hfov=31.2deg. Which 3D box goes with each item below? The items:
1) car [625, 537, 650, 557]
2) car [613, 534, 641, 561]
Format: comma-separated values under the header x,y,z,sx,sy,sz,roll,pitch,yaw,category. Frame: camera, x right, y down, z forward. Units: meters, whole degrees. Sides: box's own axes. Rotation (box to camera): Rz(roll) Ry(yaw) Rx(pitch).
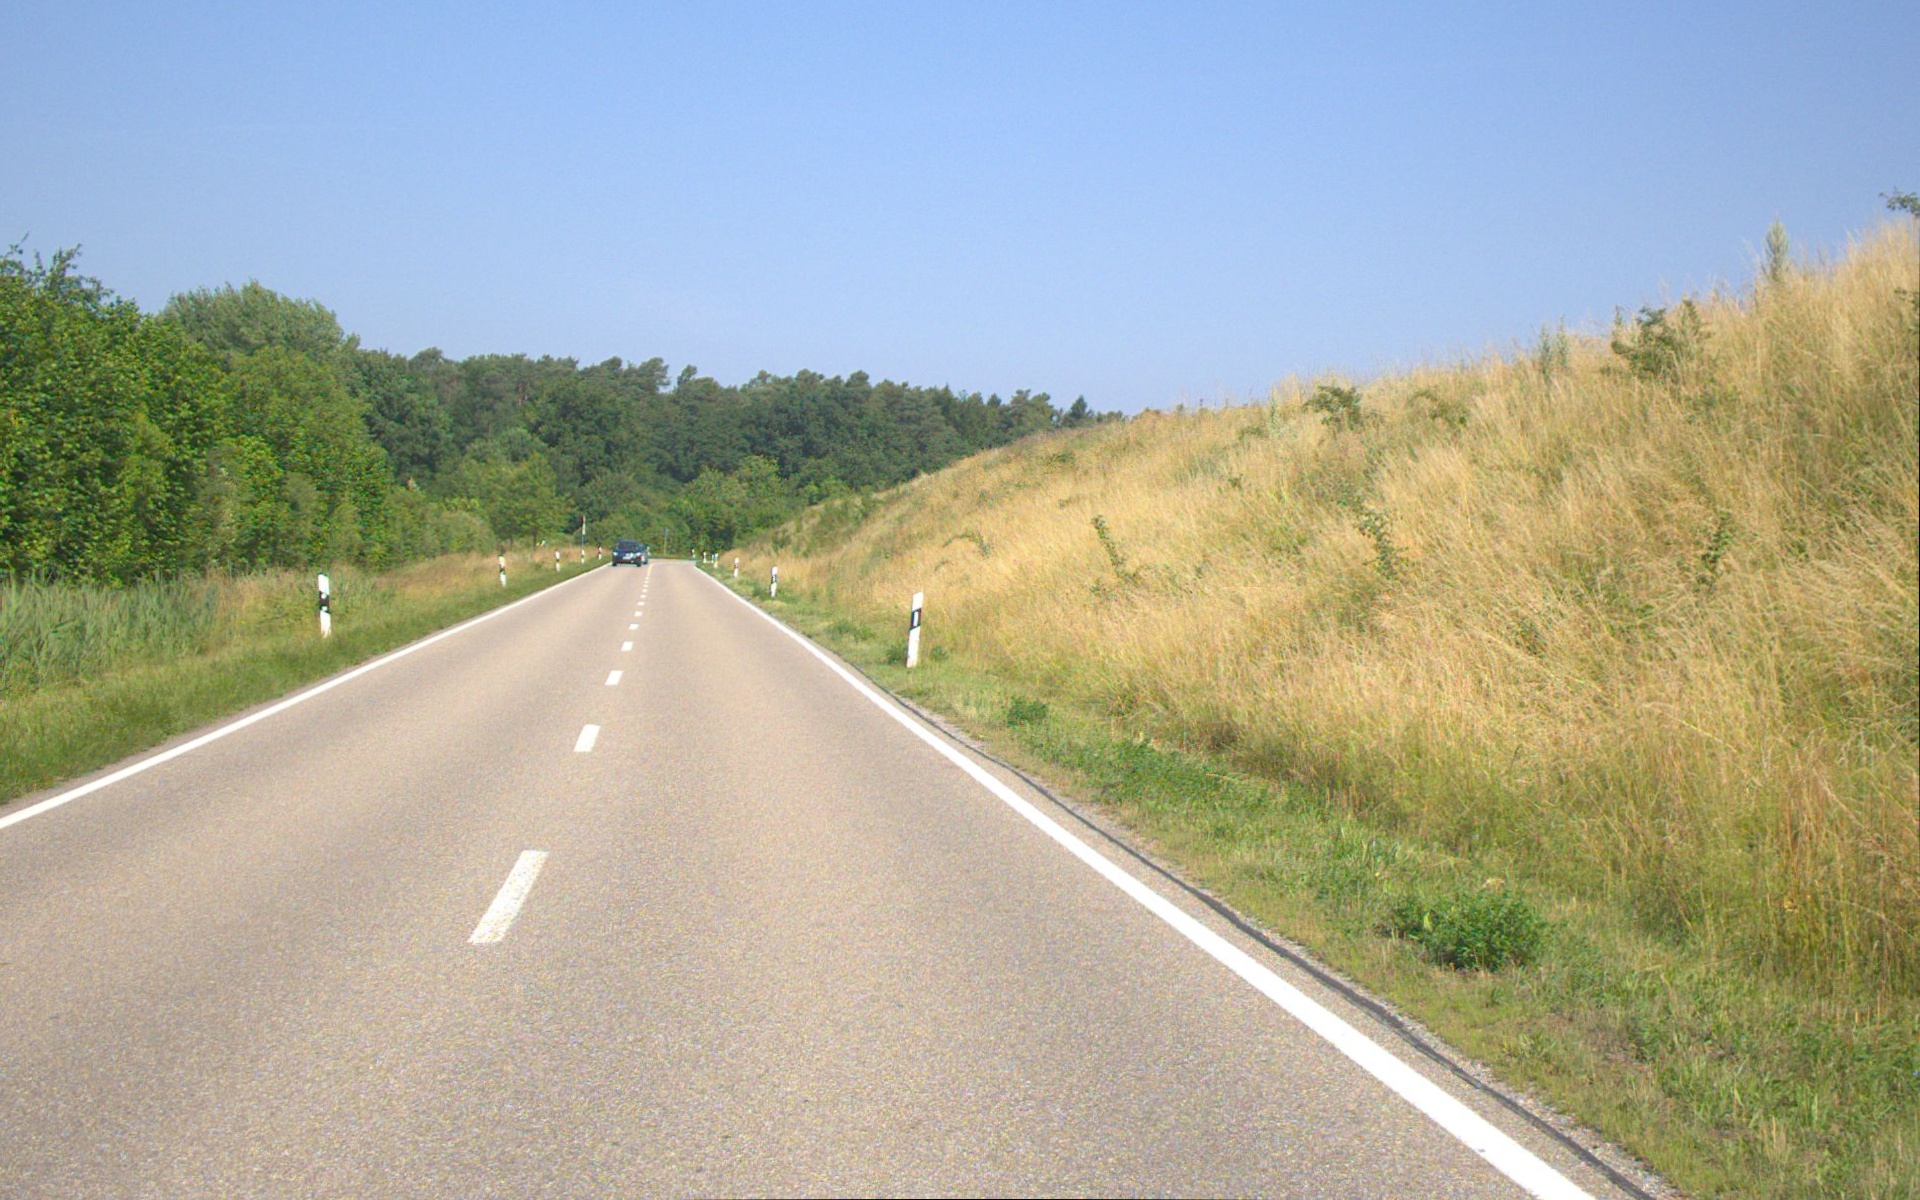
x,y,z,sx,sy,sz,roll,pitch,yaw,category
-22.763,-3.727,242.889,1.722,1.349,4.001,3,0,-5,car
-20.980,-3.319,216.515,1.716,1.641,3.916,2,1,-5,car
